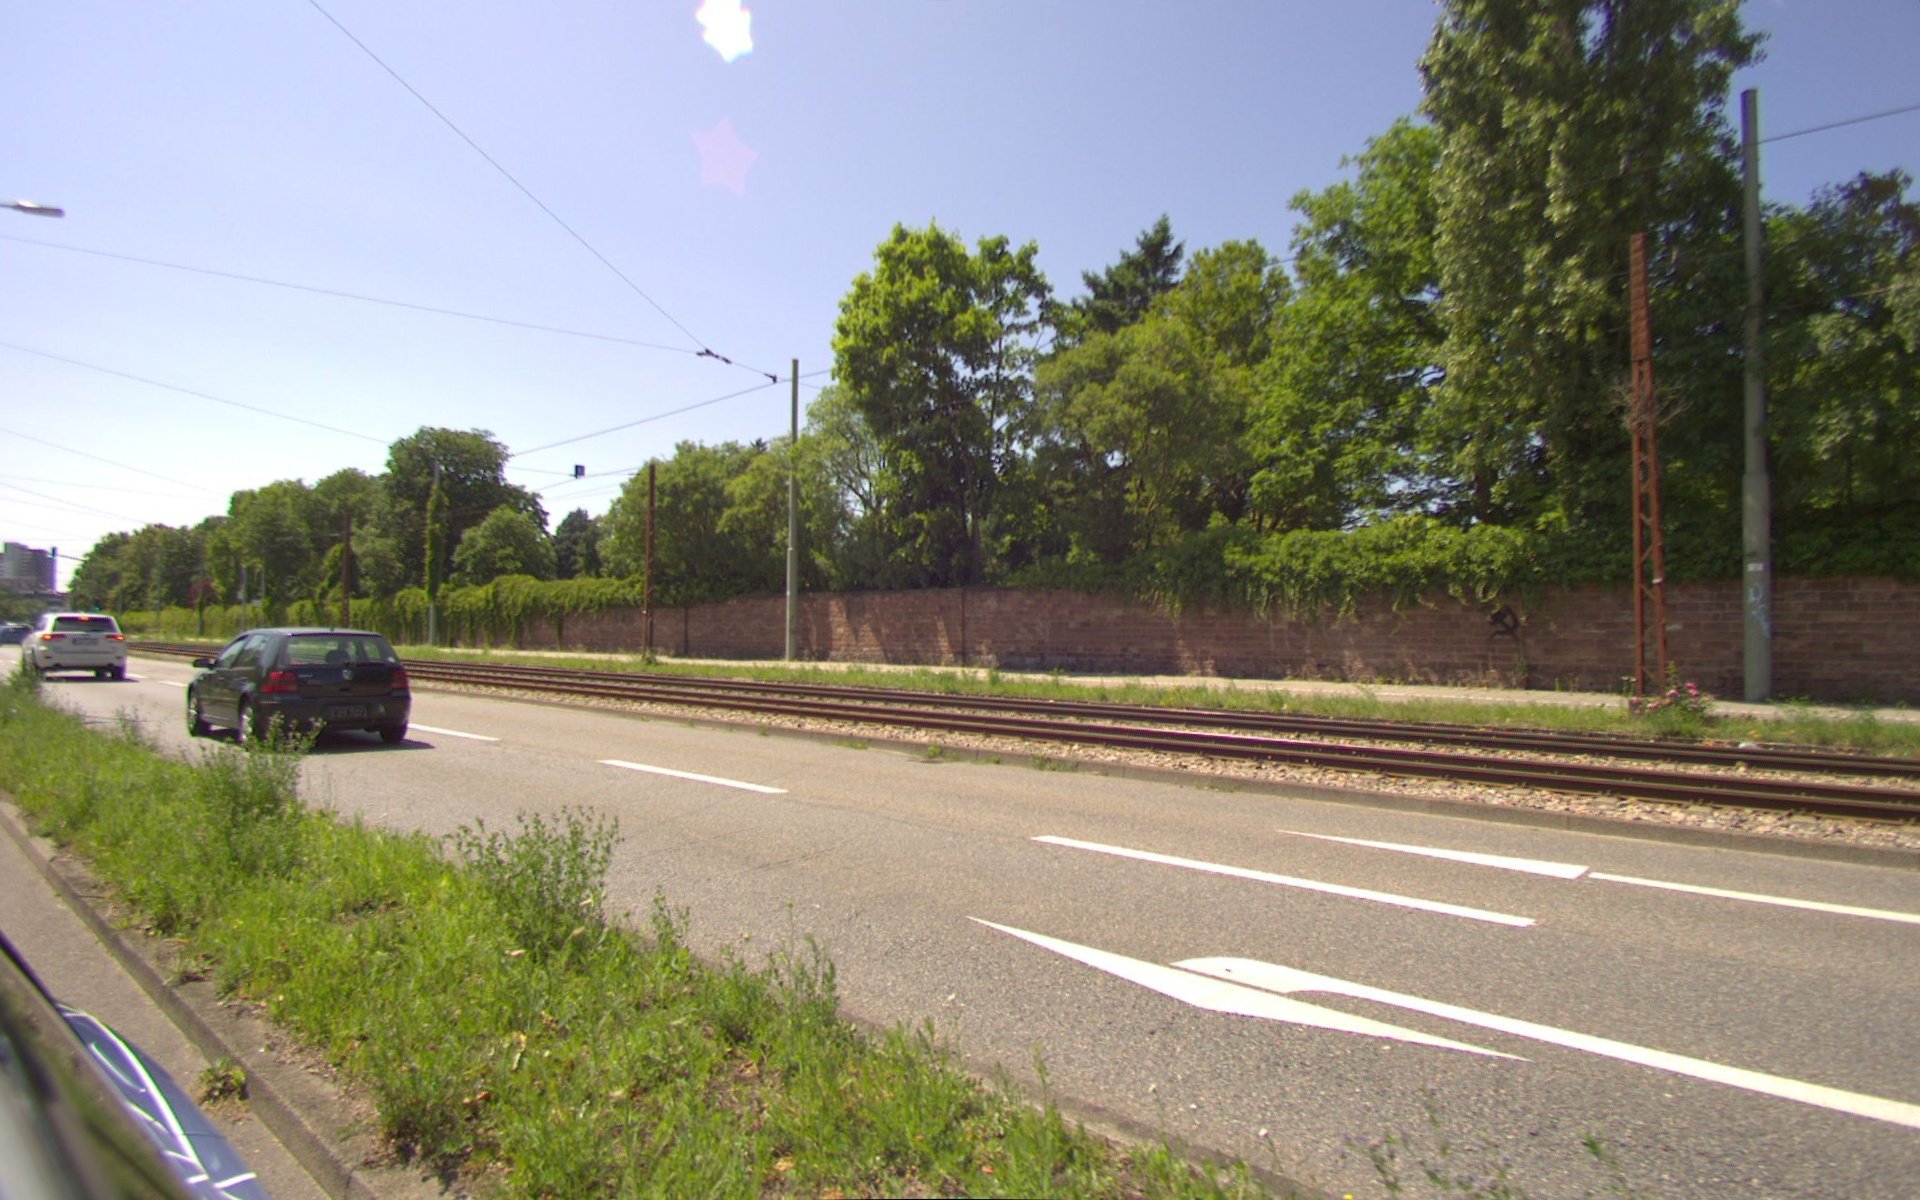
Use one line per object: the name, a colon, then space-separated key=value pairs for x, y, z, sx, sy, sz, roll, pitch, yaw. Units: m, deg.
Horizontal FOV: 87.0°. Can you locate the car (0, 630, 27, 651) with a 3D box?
car: x=-67.399 y=2.856 z=71.648 sx=3.790 sy=1.482 sz=1.676 roll=-2 pitch=-3 yaw=42

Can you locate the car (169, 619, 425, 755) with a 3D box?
car: x=-8.514 y=1.014 z=12.876 sx=3.911 sy=1.470 sz=1.698 roll=-2 pitch=-3 yaw=41

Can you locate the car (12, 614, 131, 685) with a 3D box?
car: x=-24.314 y=1.318 z=27.638 sx=4.586 sy=1.762 sz=1.880 roll=-2 pitch=-3 yaw=42
